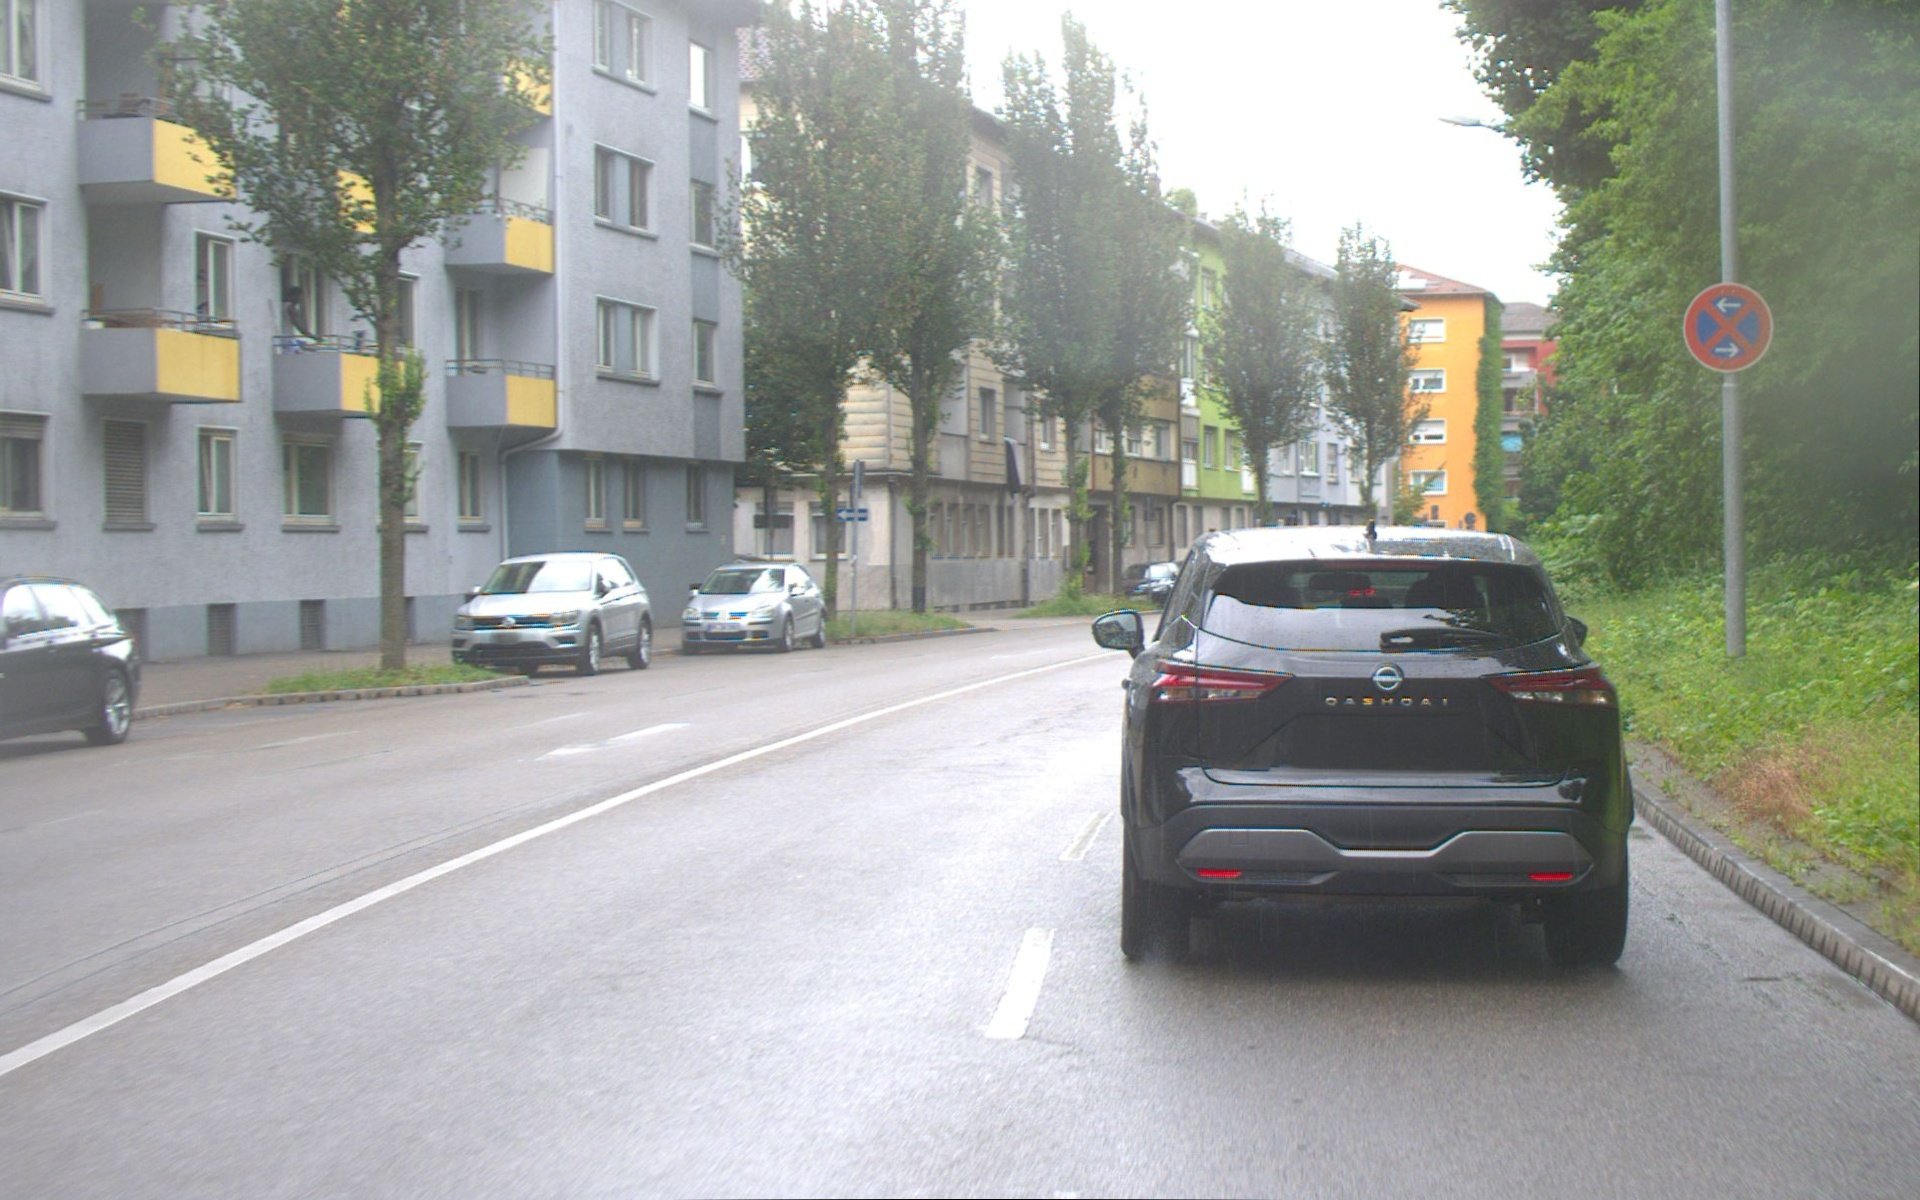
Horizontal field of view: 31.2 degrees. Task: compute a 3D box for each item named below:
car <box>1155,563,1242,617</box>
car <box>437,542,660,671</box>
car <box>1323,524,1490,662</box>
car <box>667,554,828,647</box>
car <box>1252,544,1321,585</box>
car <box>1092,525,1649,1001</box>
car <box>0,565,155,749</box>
[{"bbox_3d":[7.103,-0.312,101.991,1.818,1.483,4.787,-2,1,13],"label":"car"},{"bbox_3d":[-5.426,0.046,45.886,1.764,1.598,4.532,-1,1,9],"label":"car"},{"bbox_3d":[5.728,-0.114,44.480,1.887,1.705,4.000,0,1,4],"label":"car"},{"bbox_3d":[-3.459,-0.019,56.613,1.725,1.448,4.204,-1,0,9],"label":"car"},{"bbox_3d":[11.620,-1.277,122.182,1.818,1.368,4.678,-2,1,13],"label":"car"},{"bbox_3d":[1.489,0.502,13.560,1.845,1.577,4.000,1,1,3],"label":"car"},{"bbox_3d":[-8.280,0.472,27.693,1.821,1.434,4.891,-2,0,8],"label":"car"}]
